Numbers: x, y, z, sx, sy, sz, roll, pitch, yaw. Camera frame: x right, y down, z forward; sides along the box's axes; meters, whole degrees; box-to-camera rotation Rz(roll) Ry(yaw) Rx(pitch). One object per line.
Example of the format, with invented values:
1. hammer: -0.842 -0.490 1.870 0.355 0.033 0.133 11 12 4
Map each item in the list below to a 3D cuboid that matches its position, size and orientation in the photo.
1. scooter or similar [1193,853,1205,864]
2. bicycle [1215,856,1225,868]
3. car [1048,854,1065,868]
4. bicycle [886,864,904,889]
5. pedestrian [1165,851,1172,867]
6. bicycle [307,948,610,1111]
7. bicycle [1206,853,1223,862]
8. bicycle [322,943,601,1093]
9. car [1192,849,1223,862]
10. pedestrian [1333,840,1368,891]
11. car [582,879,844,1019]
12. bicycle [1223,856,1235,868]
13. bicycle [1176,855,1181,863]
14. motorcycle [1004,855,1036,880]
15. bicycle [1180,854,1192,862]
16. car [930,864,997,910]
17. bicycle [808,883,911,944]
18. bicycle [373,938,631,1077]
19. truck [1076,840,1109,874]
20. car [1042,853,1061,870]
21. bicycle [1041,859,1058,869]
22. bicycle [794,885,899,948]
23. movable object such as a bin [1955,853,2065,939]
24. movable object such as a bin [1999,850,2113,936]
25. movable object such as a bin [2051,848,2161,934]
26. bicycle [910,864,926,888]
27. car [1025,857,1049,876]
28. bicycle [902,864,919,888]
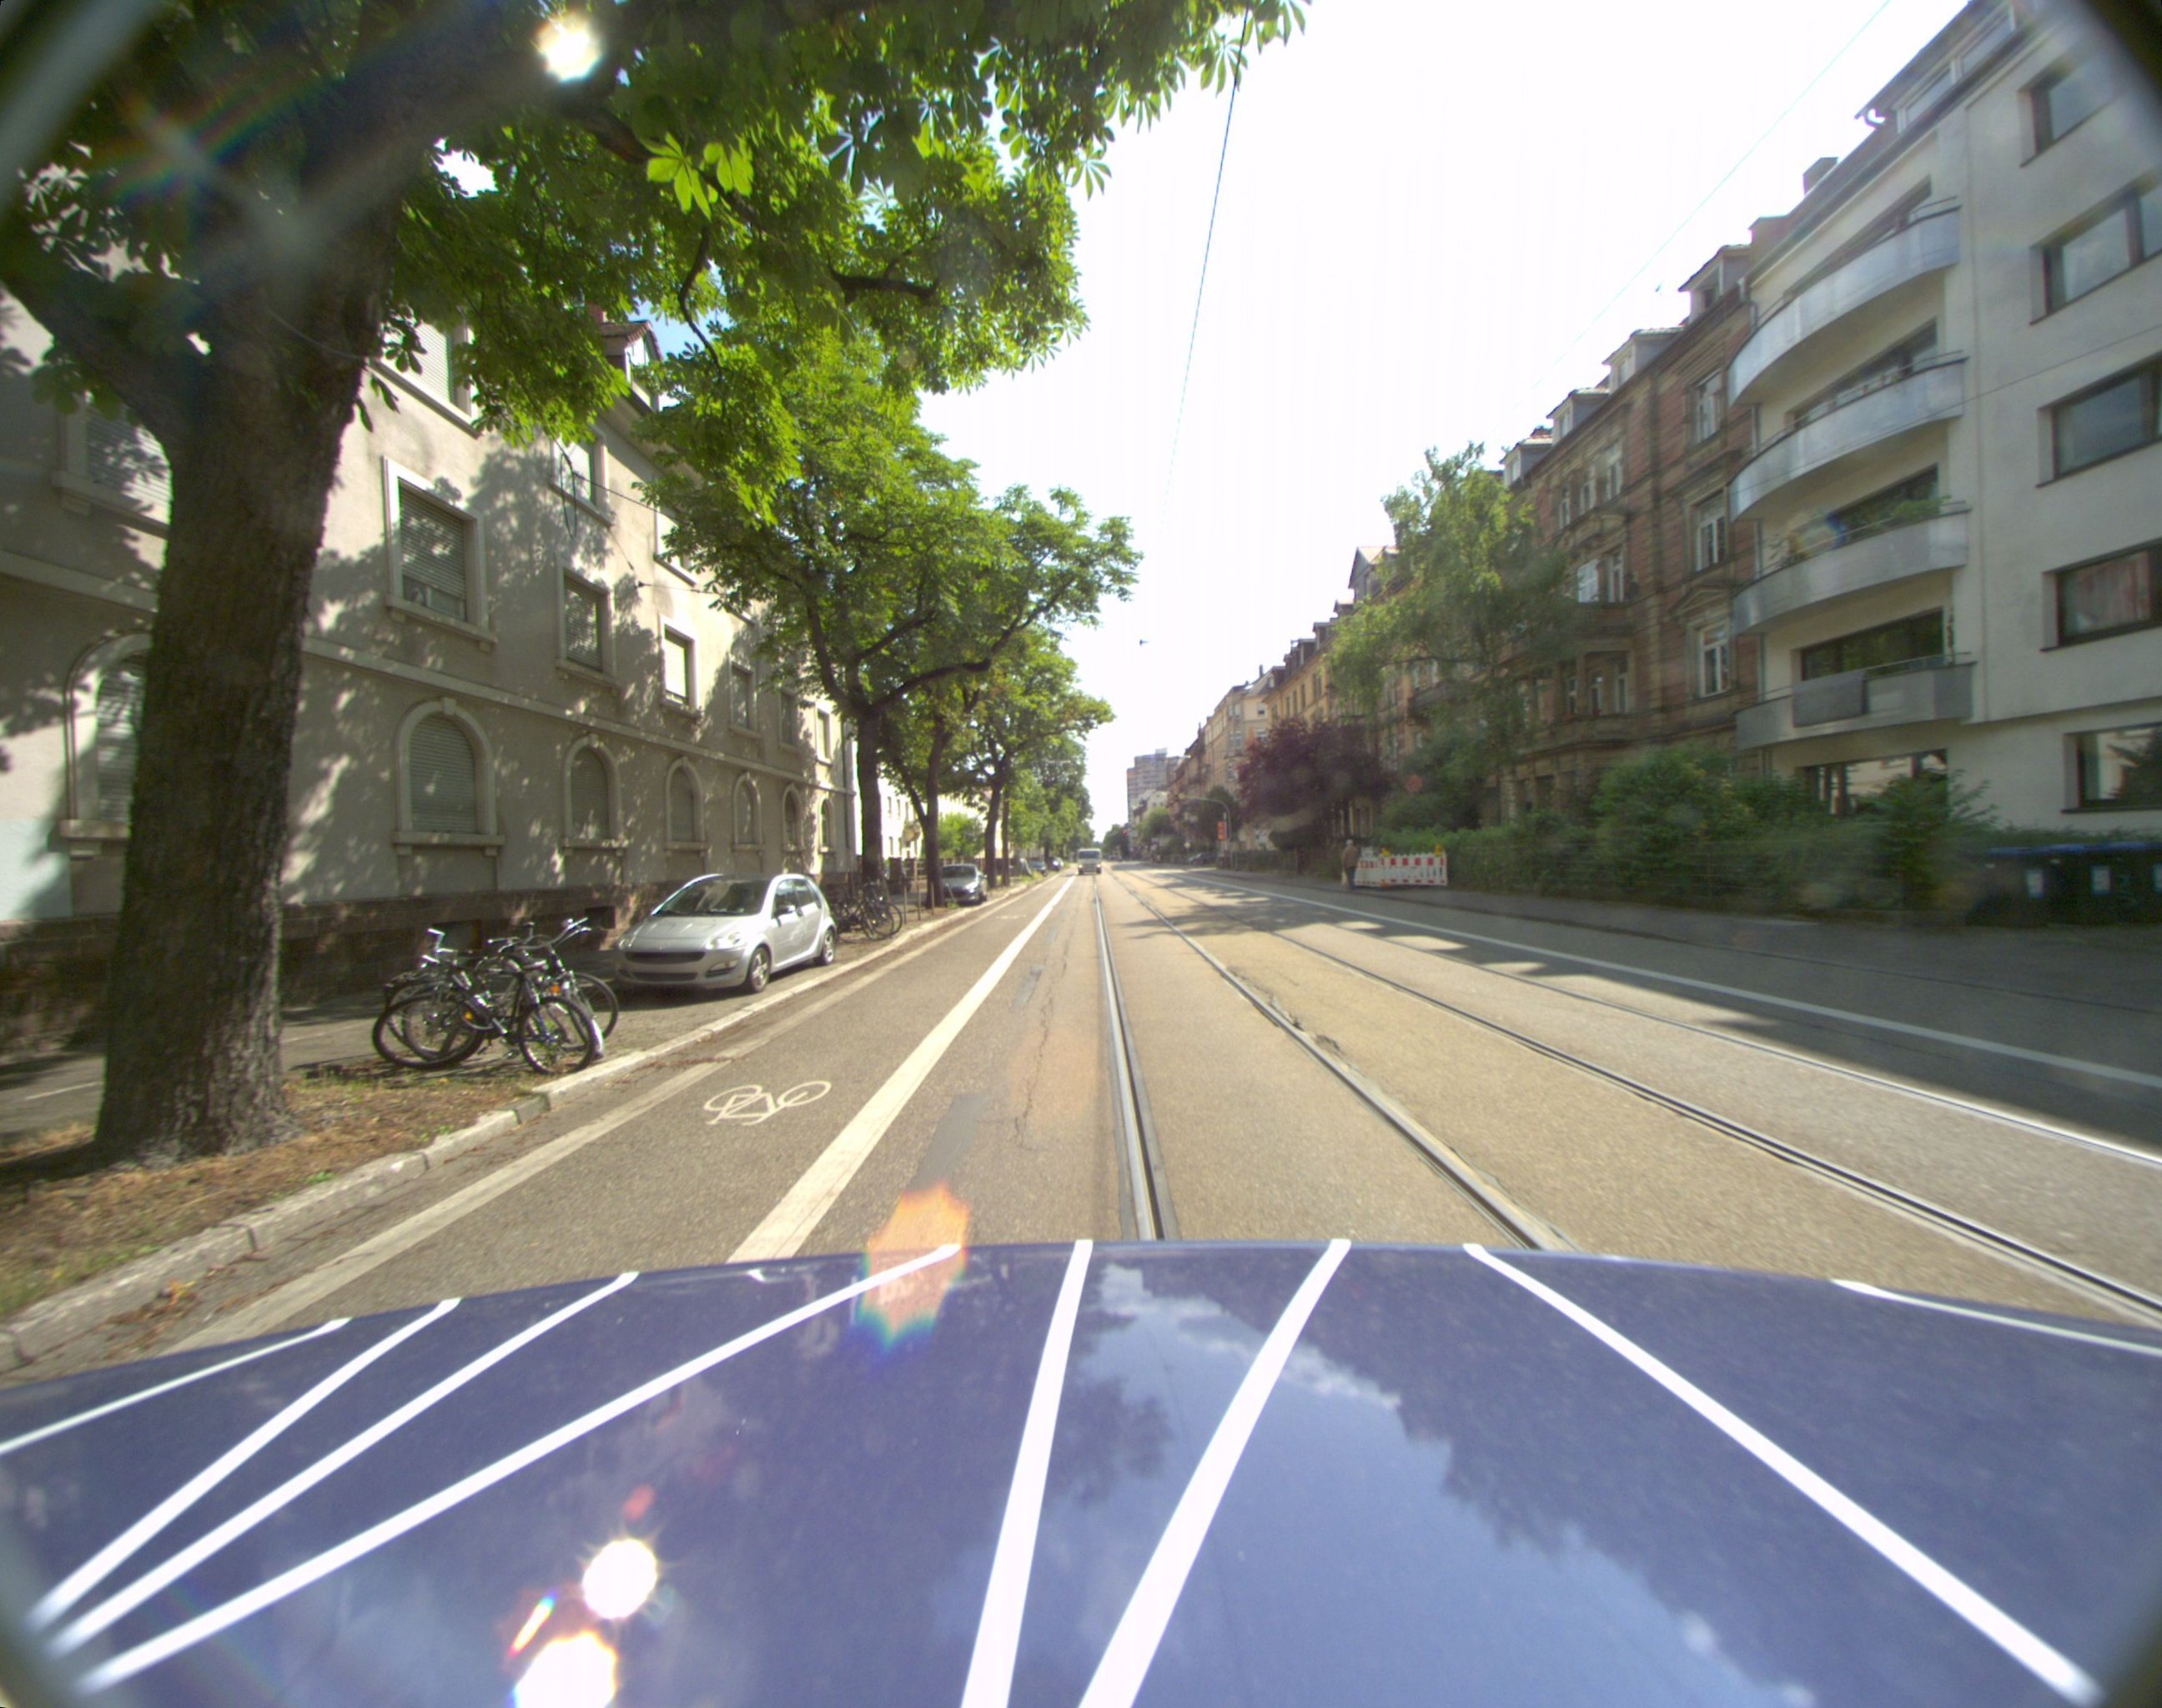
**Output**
1. scooter or similar: 13.396 0.486 86.369 1.367 1.228 0.403 -3 1 -28
2. bicycle: 11.821 0.679 64.578 0.531 0.941 1.968 -2 0 1
3. car: -3.071 0.921 95.868 1.867 1.643 4.637 -2 0 0
4. bicycle: -9.424 1.148 38.612 0.413 1.204 1.704 -2 0 1
5. pedestrian: 10.025 0.568 87.041 0.534 1.750 1.105 -4 0 0
6. bicycle: -4.634 1.298 5.705 1.908 1.066 0.402 -2 1 1
7. bicycle: 15.611 0.397 88.871 1.759 1.057 0.524 -2 0 -5
8. bicycle: -5.009 1.316 6.186 1.908 1.066 0.402 -2 1 1
9. car: 15.466 0.237 93.050 3.611 1.394 1.787 -3 0 5
10. pedestrian: 9.385 0.398 26.459 0.825 1.696 0.891 -2 1 -2
11. car: -4.706 1.124 10.386 1.670 1.422 3.766 0 0 1
12. bicycle: 11.866 0.626 61.056 0.531 0.941 1.968 -2 0 1
13. bicycle: 12.615 0.607 98.500 0.422 0.971 1.949 -2 0 0
14. motorcycle: -4.105 0.932 50.780 0.680 1.588 2.381 -3 1 -45
15. bicycle: 13.105 0.512 94.768 1.456 0.971 0.404 -2 0 1
16. car: -4.101 1.118 27.153 1.851 1.401 4.393 0 0 -2
17. bicycle: -4.425 1.178 15.195 1.940 1.169 0.513 -1 1 12
18. bicycle: -5.004 1.320 6.609 1.908 1.066 0.402 -2 1 1
19. truck: 0.916 0.237 66.007 2.532 2.722 6.514 -2 0 -1
20. car: -3.260 0.813 85.677 1.831 1.772 4.733 -2 0 0
21. bicycle: -3.373 1.110 81.022 1.712 1.001 0.638 -2 0 1
22. bicycle: -4.528 1.197 14.679 1.897 1.169 0.513 -1 1 12
23. movable object such as a bin: 12.540 0.550 10.280 0.539 1.088 0.789 -2 2 1
24. movable object such as a bin: 13.205 0.506 10.314 0.539 1.088 0.789 -2 2 1
25. movable object such as a bin: 13.863 0.481 10.257 0.539 1.088 0.789 -2 2 1
26. bicycle: -8.670 1.140 40.481 0.413 1.204 1.704 -2 0 1
27. car: -3.795 1.045 65.938 1.710 1.470 4.196 -4 0 1
28. bicycle: -9.116 1.158 40.678 0.413 1.204 1.704 -2 0 1
